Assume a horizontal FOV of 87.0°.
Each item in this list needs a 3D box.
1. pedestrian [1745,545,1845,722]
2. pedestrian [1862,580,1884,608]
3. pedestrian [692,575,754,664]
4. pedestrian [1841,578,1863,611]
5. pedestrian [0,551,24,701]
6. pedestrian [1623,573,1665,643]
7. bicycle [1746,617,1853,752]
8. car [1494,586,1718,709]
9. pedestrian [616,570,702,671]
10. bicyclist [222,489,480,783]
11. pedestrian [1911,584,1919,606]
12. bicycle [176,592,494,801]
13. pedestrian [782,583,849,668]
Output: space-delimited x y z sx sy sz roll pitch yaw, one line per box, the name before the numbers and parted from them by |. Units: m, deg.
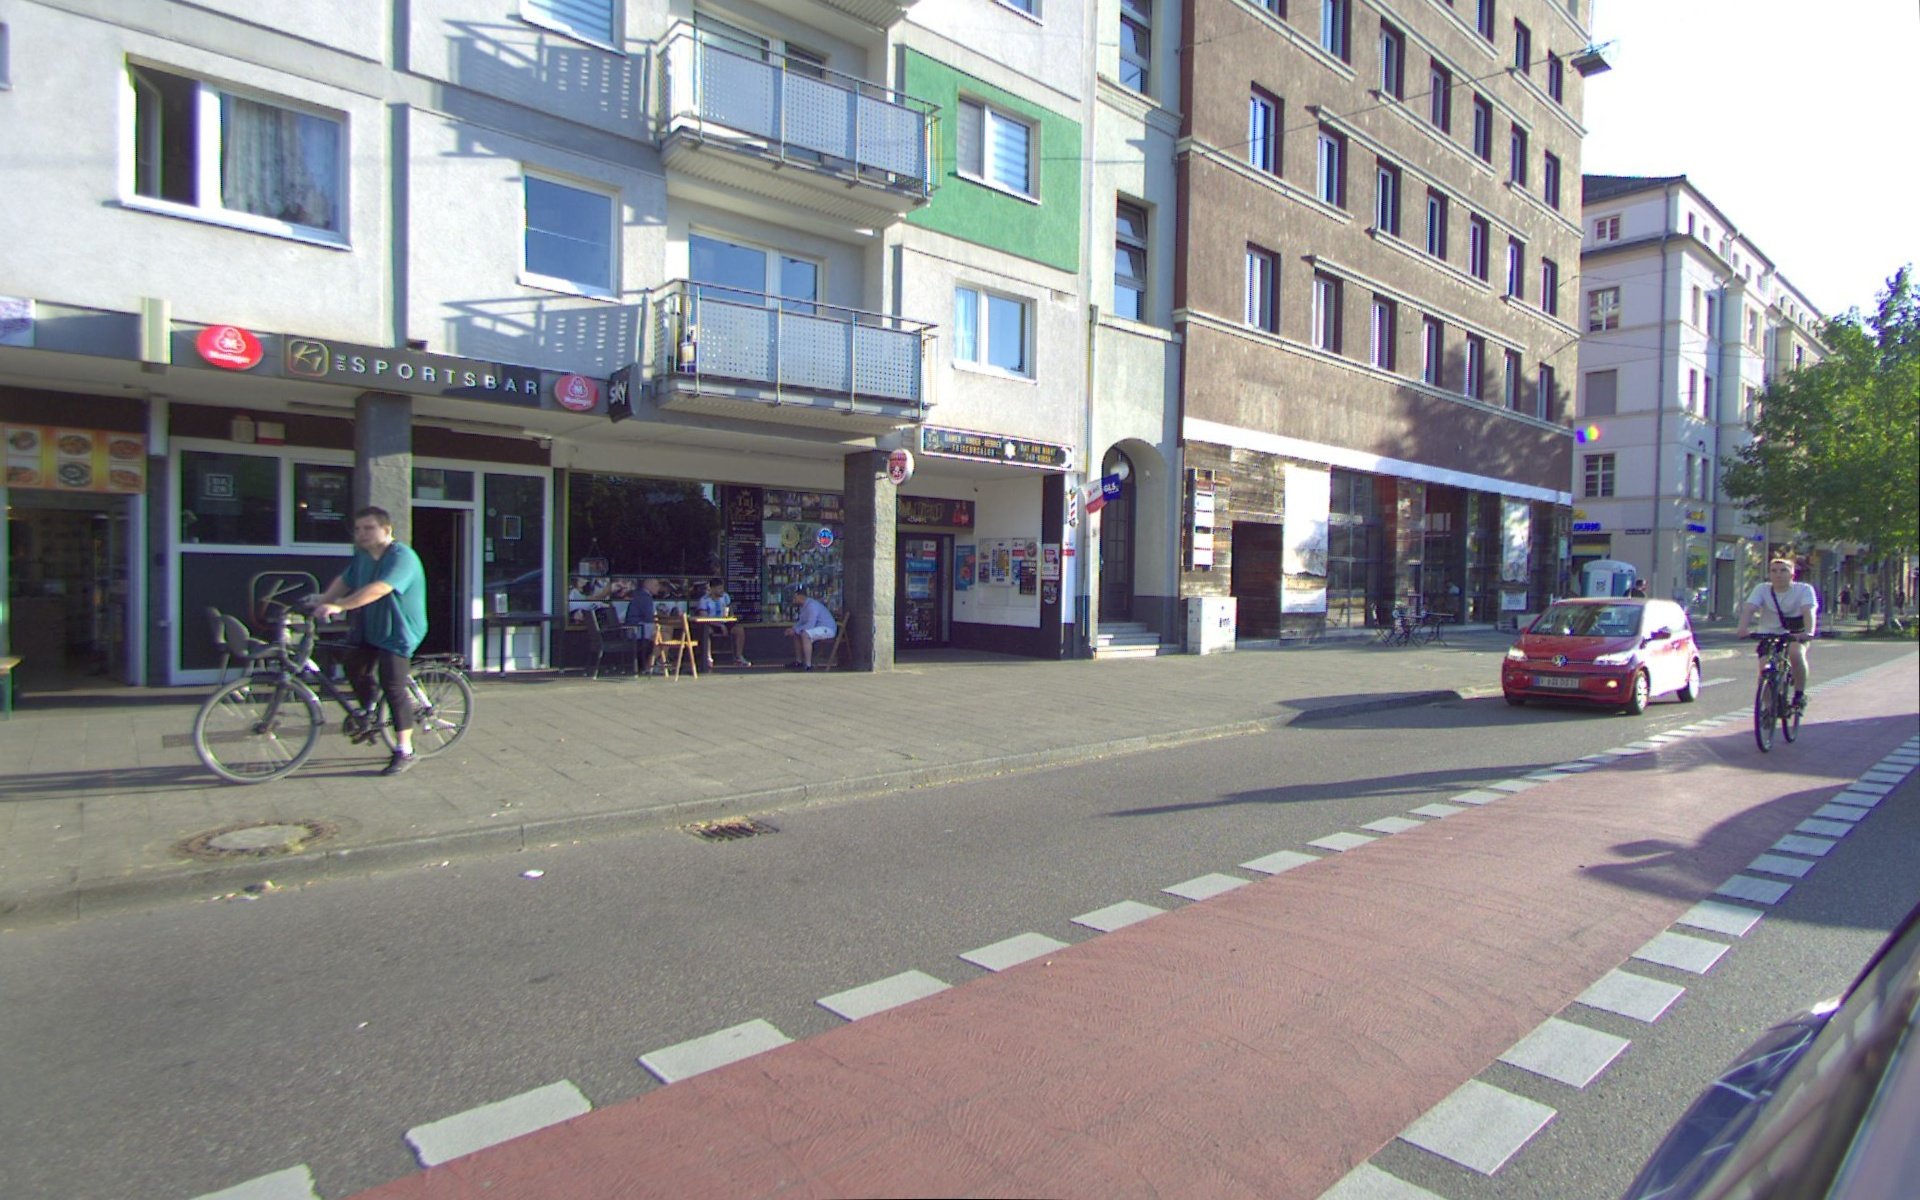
pedestrian | 8.271 0.310 10.021 0.828 1.669 0.639 0 0 -41
pedestrian | 46.687 -0.313 51.726 0.908 1.458 0.727 0 1 -42
pedestrian | -3.483 0.268 14.847 0.635 1.247 0.727 0 1 -39
pedestrian | 46.354 -0.285 52.589 0.908 1.697 0.727 0 1 -42
pedestrian | -8.997 0.237 9.177 0.455 1.375 0.632 1 1 -2
pedestrian | 16.165 0.181 23.919 0.869 1.616 0.602 0 1 -41
bicycle | 8.274 0.777 9.950 1.817 1.173 0.529 0 0 -41
car | 9.034 0.572 14.065 3.477 1.499 1.686 0 0 -40
pedestrian | -4.058 0.257 13.636 0.937 1.311 0.646 0 1 -38
bicyclist | -4.217 0.209 7.097 0.738 1.830 1.372 1 1 29
pedestrian | 63.053 -0.343 66.779 0.350 1.458 0.311 0 0 -33
bicycle | -4.254 0.575 7.060 0.563 1.191 1.856 4 3 28
pedestrian | -2.055 0.342 14.395 0.715 1.166 0.605 0 1 -41
